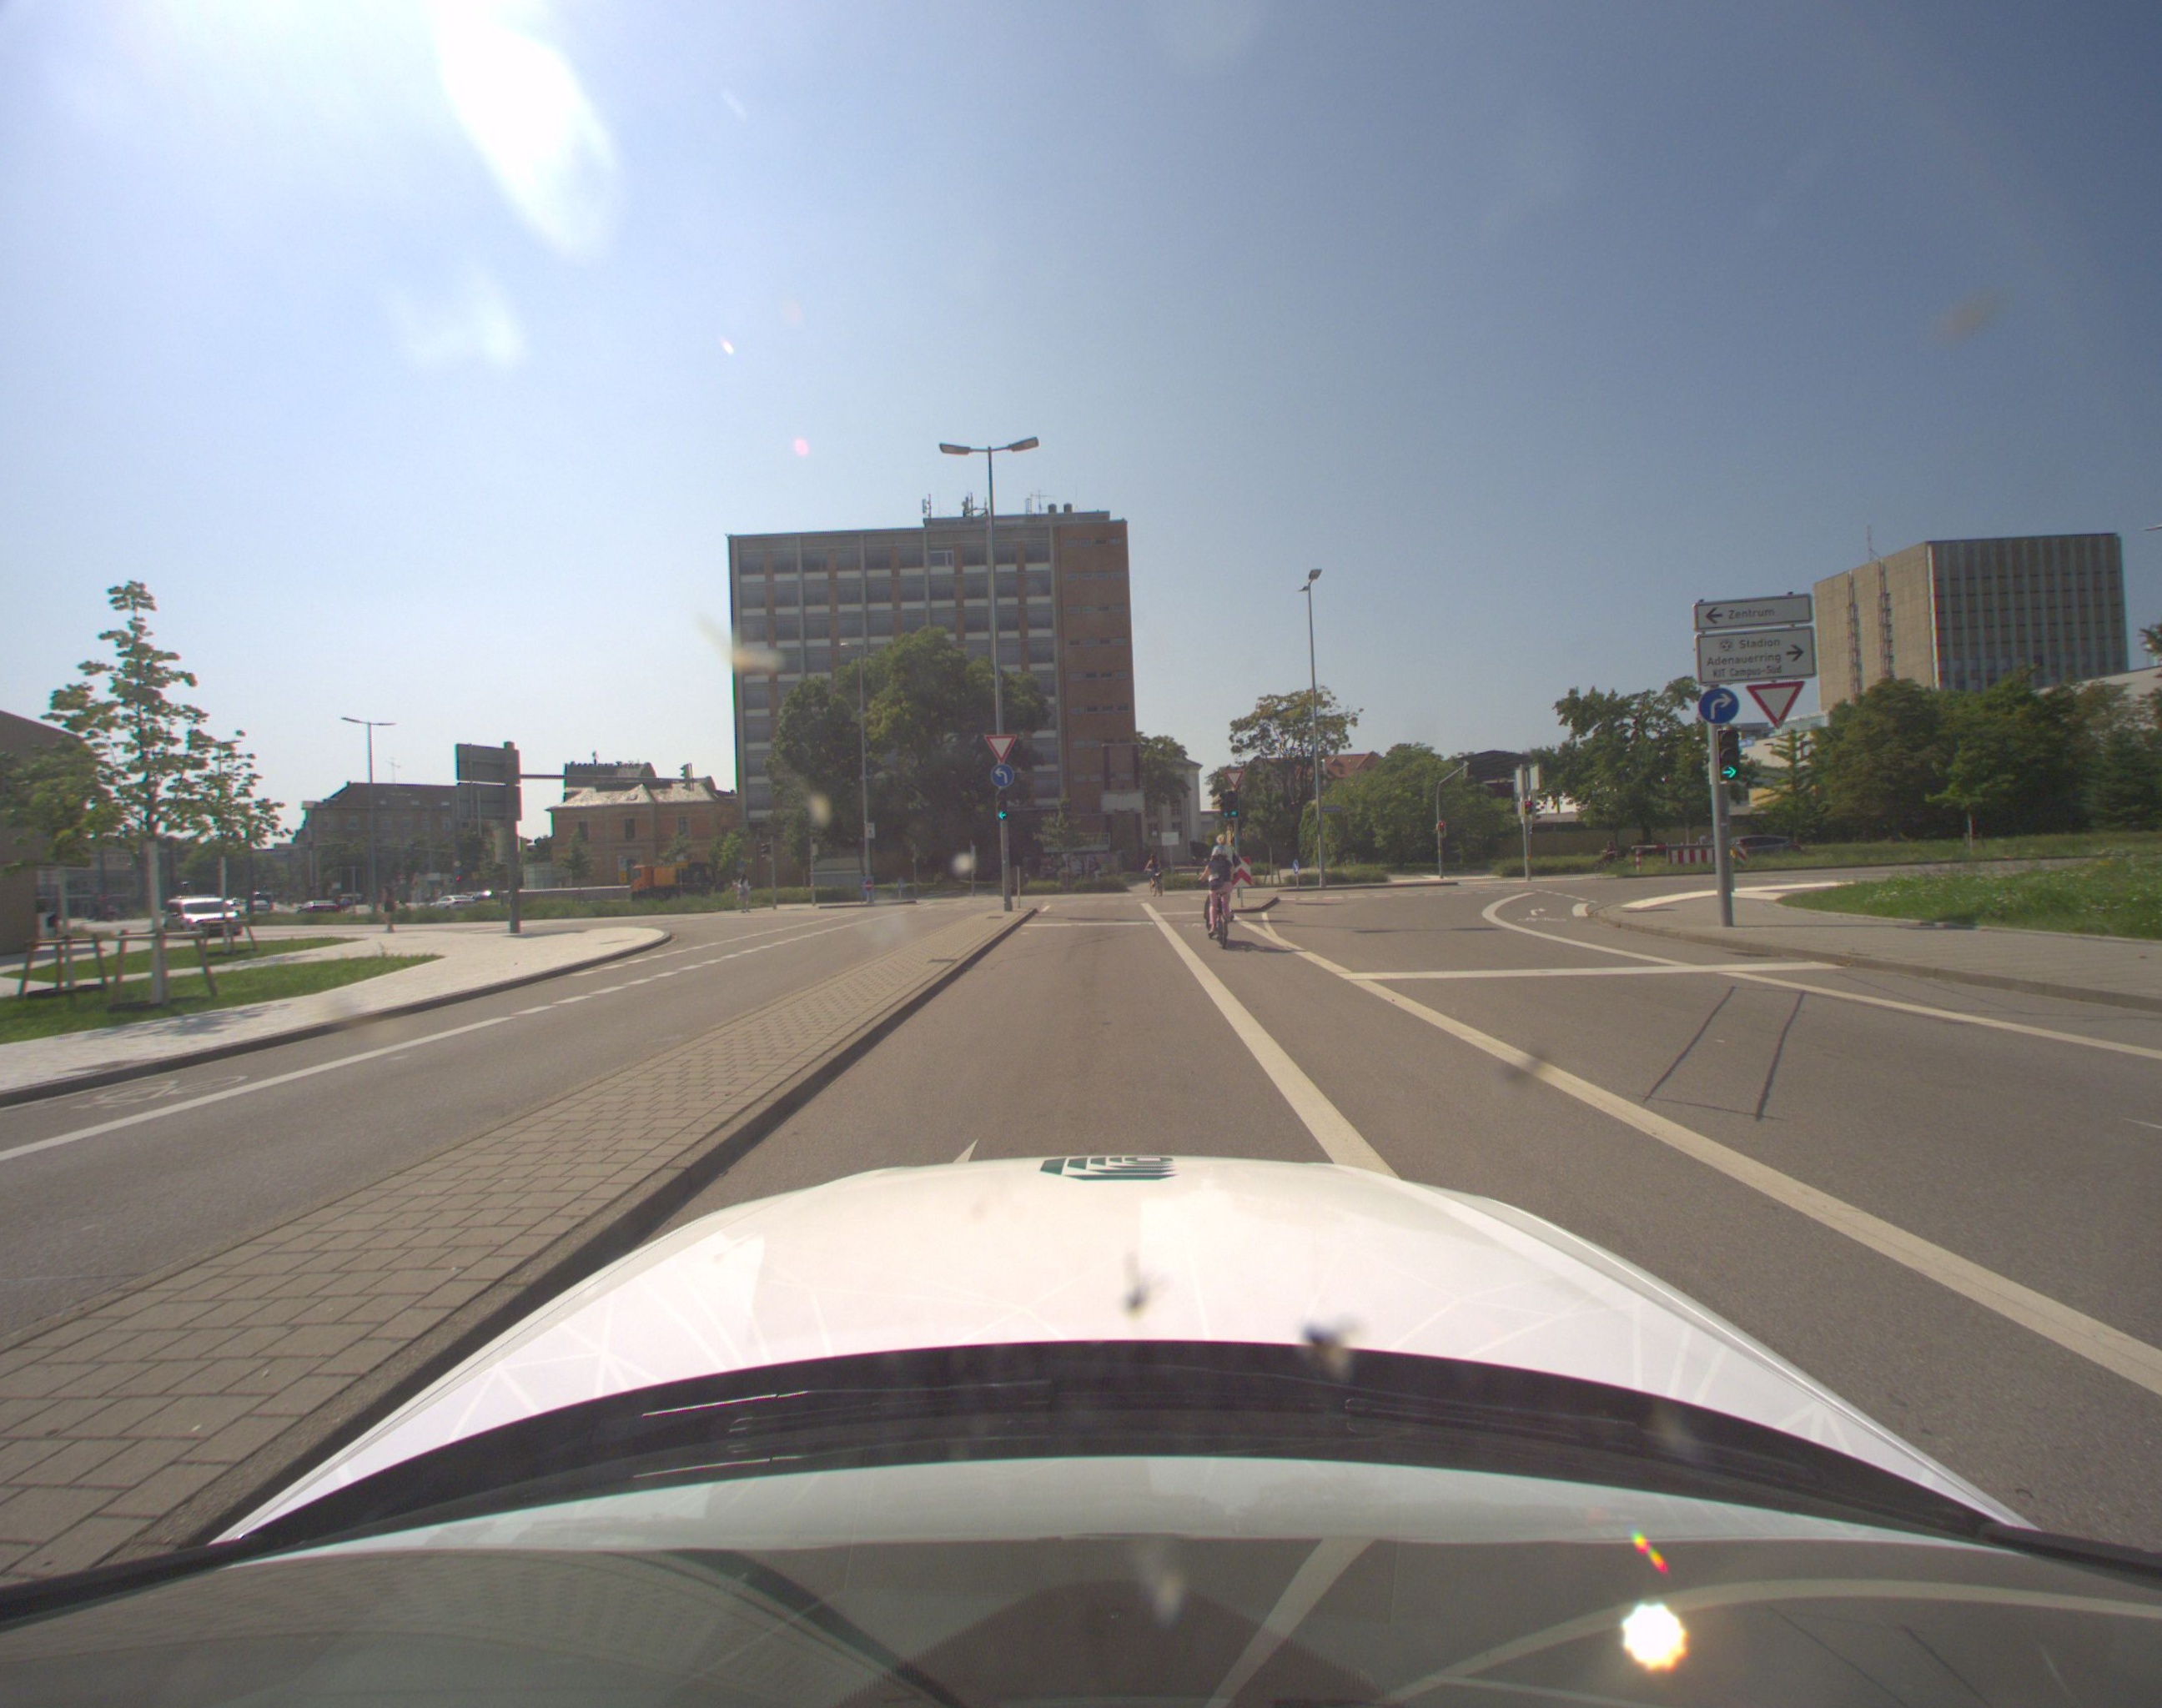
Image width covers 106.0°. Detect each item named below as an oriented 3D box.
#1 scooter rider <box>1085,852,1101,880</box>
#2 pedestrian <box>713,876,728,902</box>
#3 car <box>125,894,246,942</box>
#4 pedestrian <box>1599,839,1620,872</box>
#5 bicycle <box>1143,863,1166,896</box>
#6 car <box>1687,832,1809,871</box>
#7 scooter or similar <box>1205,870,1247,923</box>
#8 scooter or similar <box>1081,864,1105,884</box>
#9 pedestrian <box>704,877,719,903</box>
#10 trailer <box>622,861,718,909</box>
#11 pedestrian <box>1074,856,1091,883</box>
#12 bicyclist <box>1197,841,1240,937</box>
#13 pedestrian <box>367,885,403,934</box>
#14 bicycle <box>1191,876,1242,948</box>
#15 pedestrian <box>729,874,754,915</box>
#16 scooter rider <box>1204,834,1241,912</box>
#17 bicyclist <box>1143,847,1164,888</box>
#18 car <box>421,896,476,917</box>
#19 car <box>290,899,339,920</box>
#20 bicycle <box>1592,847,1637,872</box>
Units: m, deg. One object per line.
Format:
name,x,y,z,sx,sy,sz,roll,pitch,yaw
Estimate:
scooter rider,0.761,0.749,52.407,0.796,1.739,0.692,-3,-1,18
pedestrian,-28.327,2.773,63.923,0.744,1.973,0.785,-3,-1,44
car,-40.617,2.903,36.960,4.285,1.859,2.010,-3,1,18
pedestrian,27.318,0.076,42.106,0.544,1.669,0.782,-3,-1,6
bicycle,2.909,0.988,32.444,0.691,1.155,2.372,-3,1,2
car,27.194,-0.075,33.315,3.397,1.357,1.794,-3,-2,4
scooter or similar,3.214,0.909,18.199,0.554,1.060,2.004,-3,0,1
scooter or similar,0.794,1.286,52.474,1.352,1.234,0.588,-3,-1,18
pedestrian,-28.585,2.770,62.951,0.744,1.973,0.785,-3,-1,44
trailer,-28.068,2.145,55.563,6.247,3.008,2.485,-3,-3,24
pedestrian,0.124,1.049,54.930,0.869,1.704,0.711,-3,1,18
bicyclist,2.234,0.558,13.315,0.547,1.496,0.804,-2,-1,1
pedestrian,-25.034,1.987,29.278,0.778,1.702,0.631,-3,0,20
bicycle,2.254,0.942,13.742,0.554,1.060,2.004,-1,0,1
pedestrian,-14.519,1.725,34.819,0.600,1.695,0.703,-3,-1,19
scooter rider,3.193,0.419,18.368,0.668,1.699,0.539,-3,0,0
bicyclist,2.885,0.526,32.568,0.688,1.598,0.844,-3,1,1
car,-48.675,4.051,62.654,4.368,1.455,1.774,-3,-2,30
car,-56.118,4.076,59.635,3.929,1.404,1.775,-3,-2,33
bicycle,27.558,0.296,42.085,1.774,1.212,0.787,-3,-1,5
